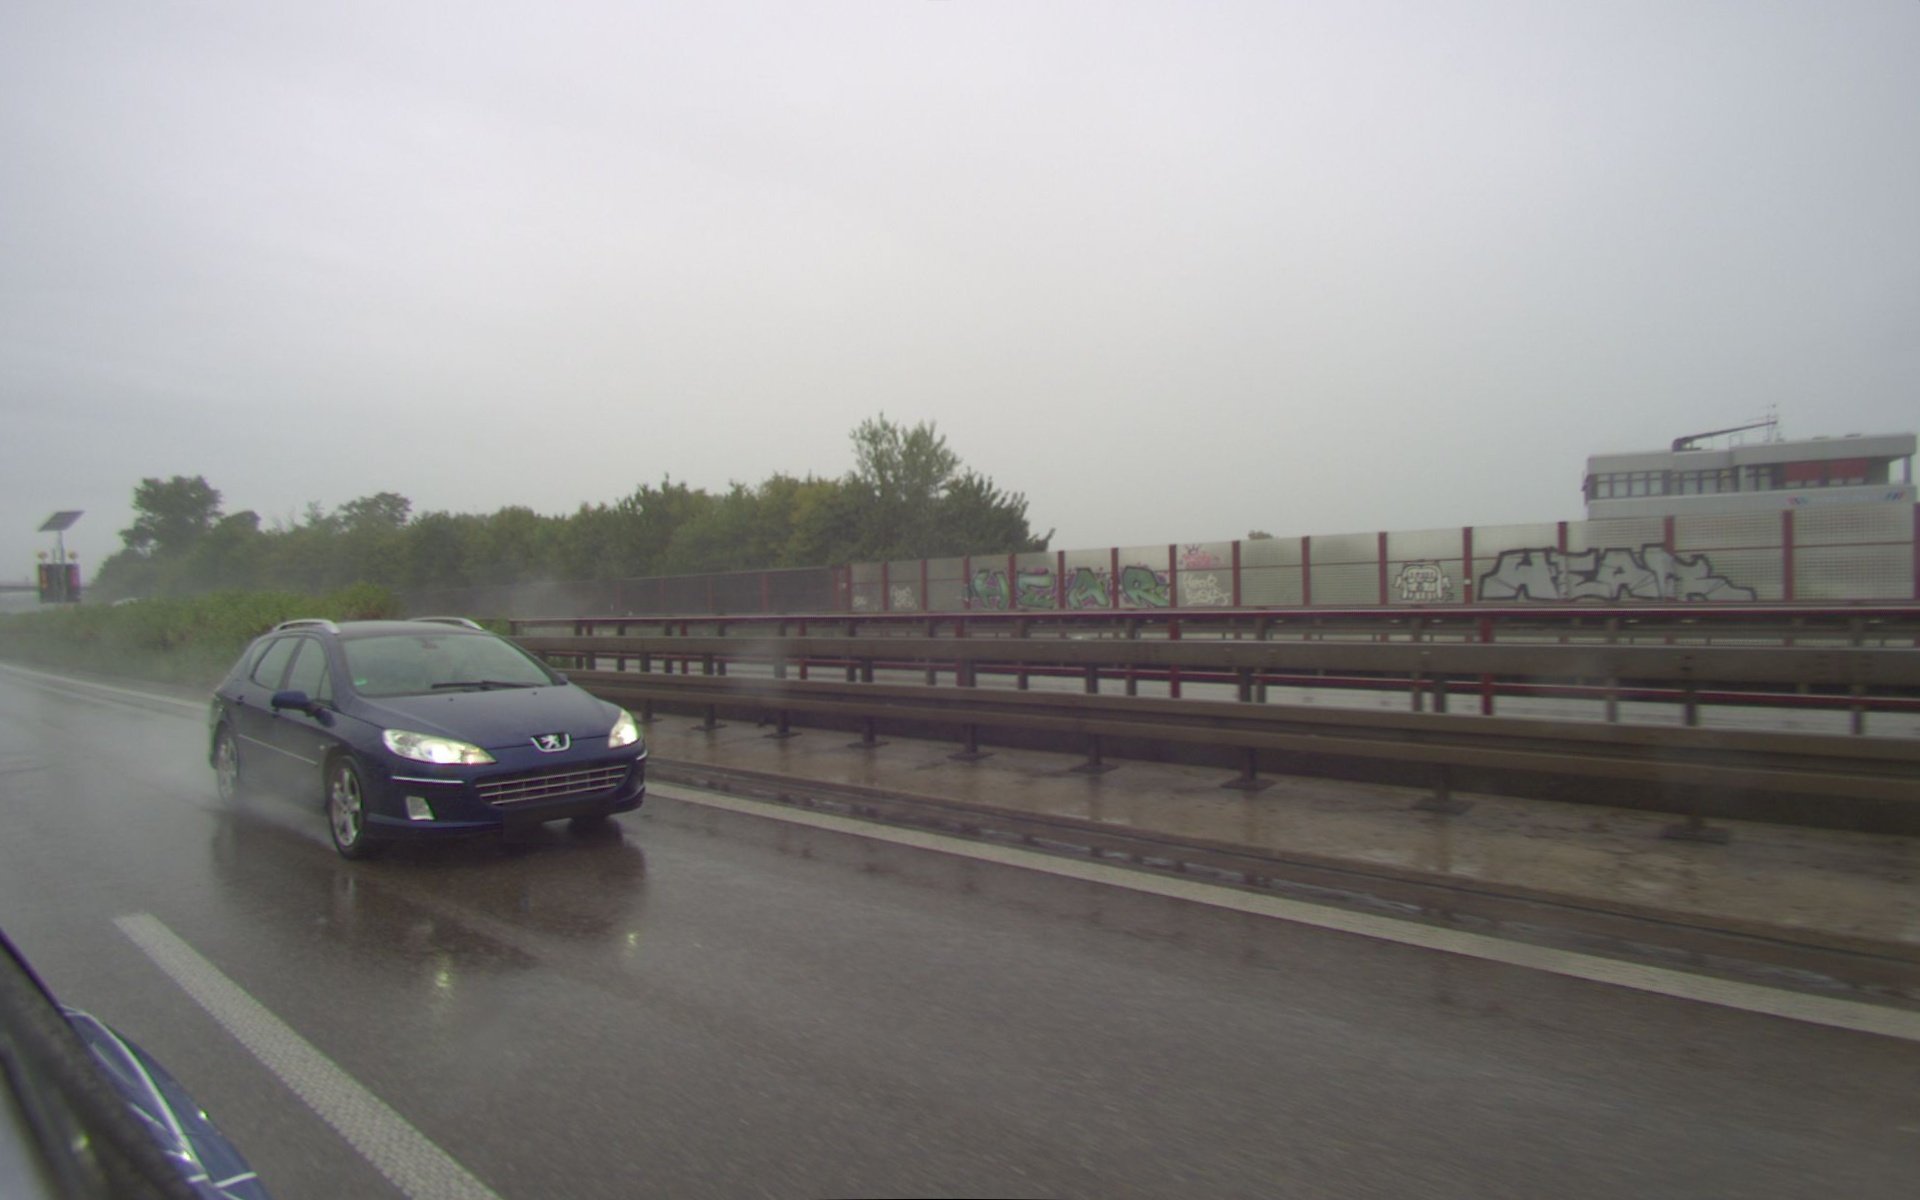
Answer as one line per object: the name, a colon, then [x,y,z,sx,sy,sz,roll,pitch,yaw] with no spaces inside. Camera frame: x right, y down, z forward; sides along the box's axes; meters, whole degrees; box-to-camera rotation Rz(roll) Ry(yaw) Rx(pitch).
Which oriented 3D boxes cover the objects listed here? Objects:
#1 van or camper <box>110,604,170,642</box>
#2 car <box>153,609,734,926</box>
van or camper: [-48.890,1.381,60.296,4.944,2.172,1.973,-2,-1,41]
car: [-4.037,0.876,7.367,5.156,1.496,2.033,-2,-1,42]
